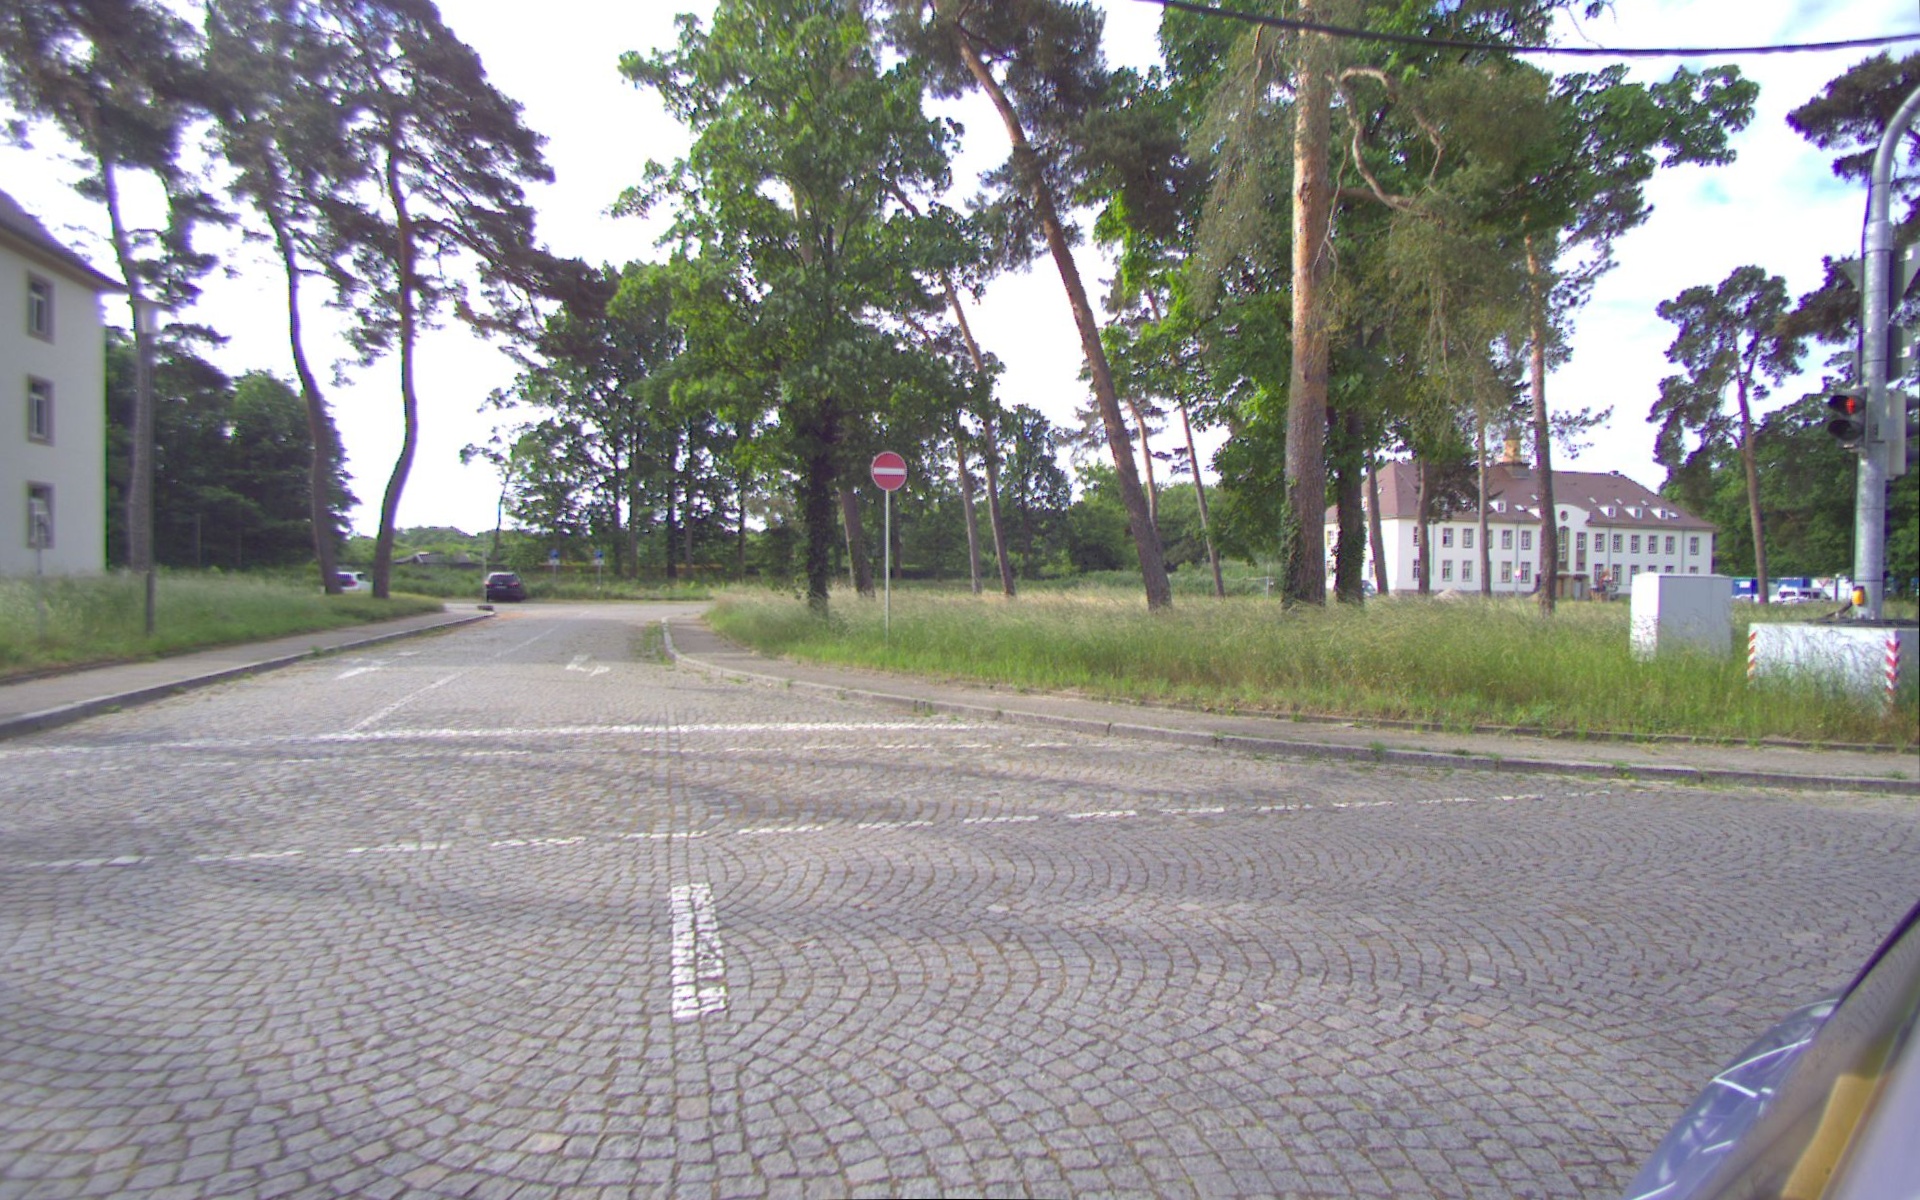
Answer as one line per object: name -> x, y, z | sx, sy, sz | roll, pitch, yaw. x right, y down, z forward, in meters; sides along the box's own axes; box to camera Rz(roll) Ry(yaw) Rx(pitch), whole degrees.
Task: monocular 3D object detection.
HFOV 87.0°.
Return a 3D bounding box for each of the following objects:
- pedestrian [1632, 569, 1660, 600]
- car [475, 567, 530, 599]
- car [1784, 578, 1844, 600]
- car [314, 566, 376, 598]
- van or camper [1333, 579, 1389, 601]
pedestrian -> 49.060, -1.129, 72.378 | 1.033, 2.205, 1.188 | 0, 1, -16
car -> -23.823, -0.906, 52.835 | 1.958, 1.552, 4.009 | 0, 1, -15
car -> 80.942, -1.044, 95.906 | 4.732, 2.039, 2.172 | 0, 1, -18
car -> -31.200, -0.936, 51.422 | 1.736, 1.552, 3.703 | 0, 1, -15
van or camper -> 44.846, -1.173, 113.318 | 2.413, 2.335, 6.142 | 0, 2, -18
